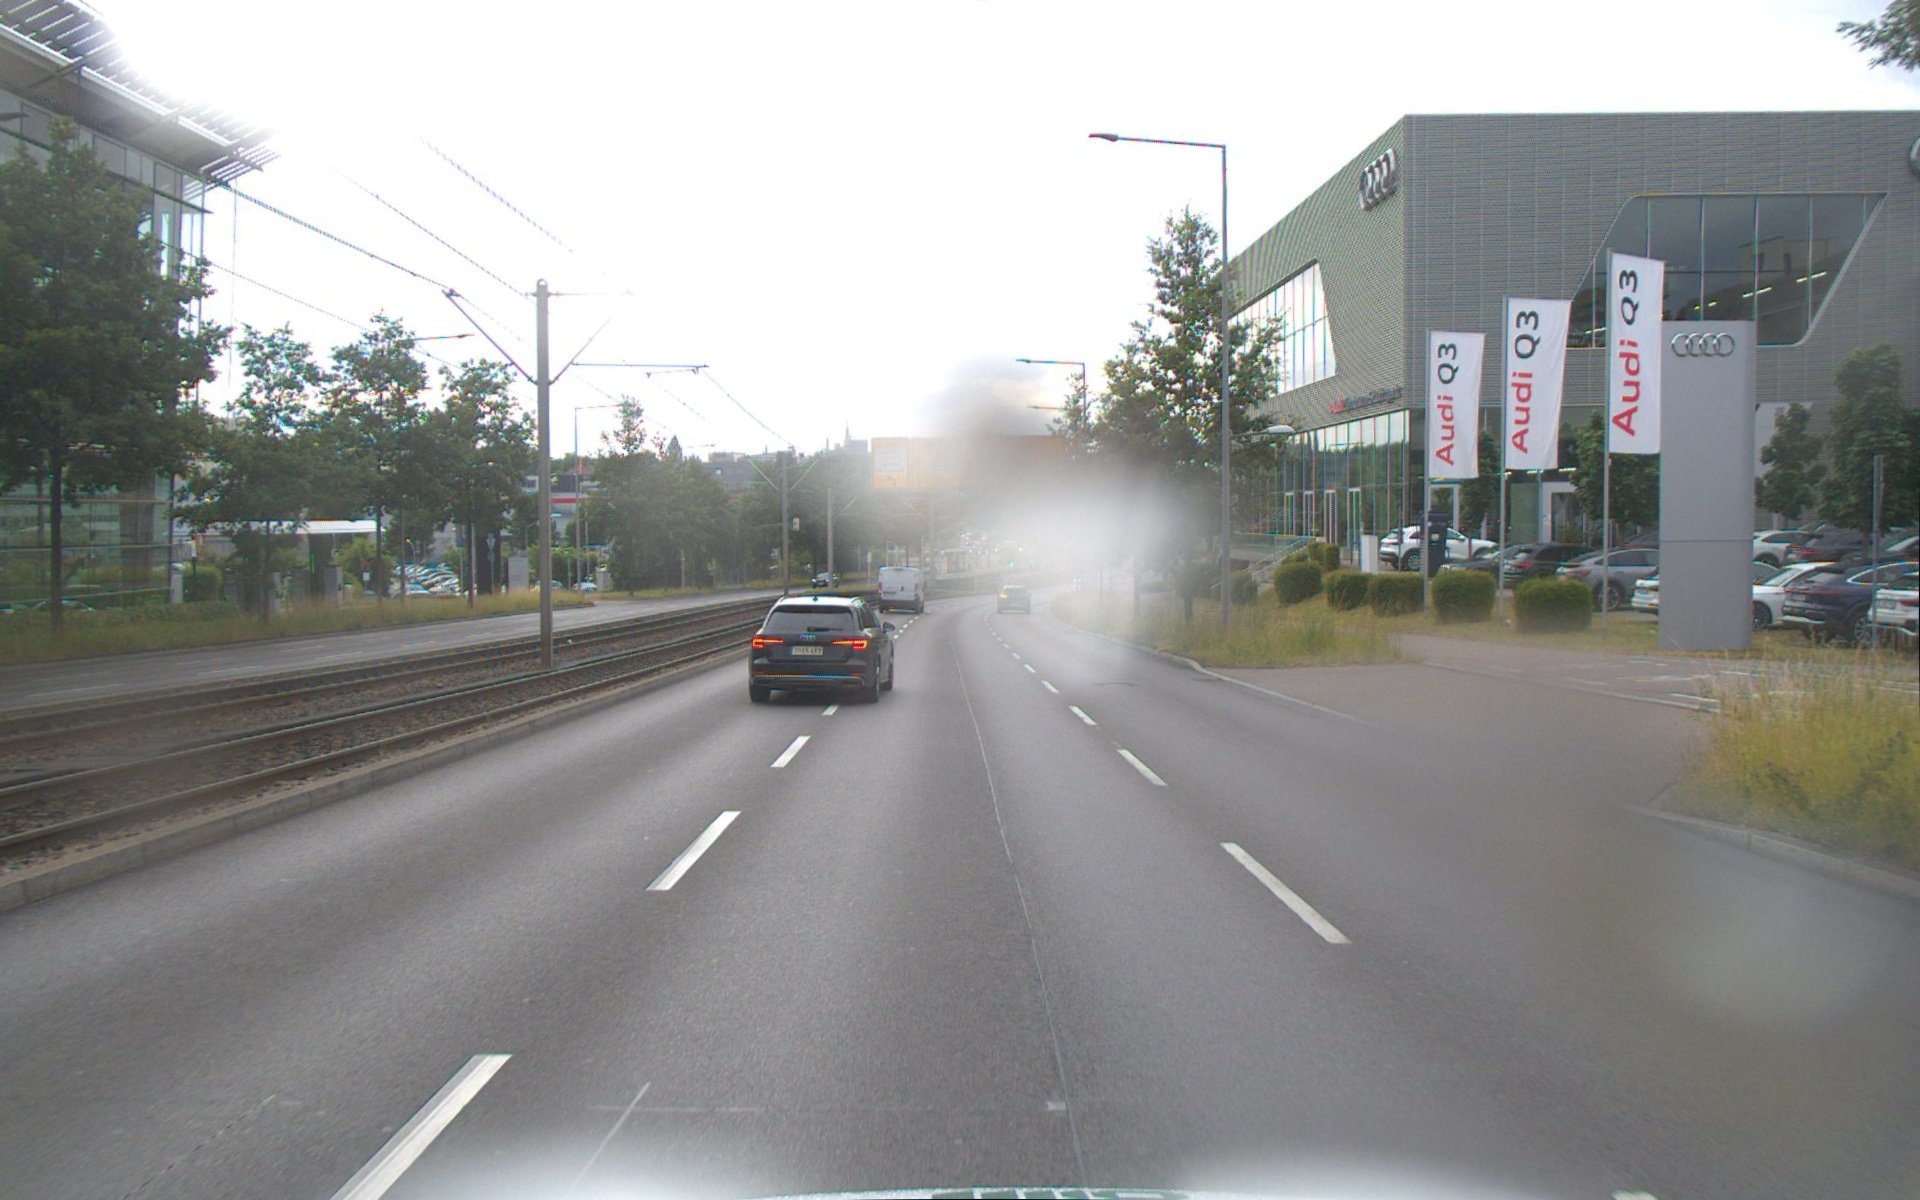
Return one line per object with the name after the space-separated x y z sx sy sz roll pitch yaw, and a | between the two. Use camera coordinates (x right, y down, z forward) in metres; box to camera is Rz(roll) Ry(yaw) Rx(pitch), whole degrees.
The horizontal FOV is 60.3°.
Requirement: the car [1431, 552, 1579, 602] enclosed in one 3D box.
17.906 -0.767 54.442 4.331 1.601 1.692 0 1 -2 | car

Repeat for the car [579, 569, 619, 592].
-27.925 -1.500 128.134 1.951 1.679 4.002 1 0 4 | car

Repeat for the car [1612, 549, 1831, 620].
17.988 -0.366 39.165 4.428 1.622 1.692 0 0 -2 | car

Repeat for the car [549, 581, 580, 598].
-36.909 -0.946 154.249 1.969 1.536 3.967 1 0 -26 | car

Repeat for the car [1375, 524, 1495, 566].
18.522 -2.135 64.617 4.173 1.601 1.692 0 1 -2 | car

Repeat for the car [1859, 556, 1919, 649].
18.578 0.063 29.627 4.029 1.622 1.944 0 -1 -9 | car

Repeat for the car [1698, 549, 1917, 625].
18.723 -0.278 36.631 4.022 1.622 1.692 0 0 -2 | car

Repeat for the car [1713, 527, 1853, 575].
28.526 -1.695 57.405 4.022 1.601 1.692 0 1 -2 | car

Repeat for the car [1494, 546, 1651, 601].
18.174 -0.789 49.152 4.022 1.601 1.692 0 1 -2 | car

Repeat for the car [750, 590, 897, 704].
-1.872 0.602 23.939 1.728 1.489 4.627 0 0 0 | car

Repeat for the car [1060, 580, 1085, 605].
9.169 -0.596 135.183 1.979 1.800 4.003 1 3 3 | car

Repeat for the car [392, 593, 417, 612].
-45.720 0.178 136.111 1.727 1.520 3.974 1 0 -22 | car

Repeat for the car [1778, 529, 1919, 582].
28.087 -1.377 51.838 4.022 1.601 1.825 0 1 -2 | car

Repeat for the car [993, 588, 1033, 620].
2.804 0.217 87.906 1.980 1.651 4.000 1 0 0 | car

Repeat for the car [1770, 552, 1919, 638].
18.249 -0.085 32.235 4.022 1.622 1.870 0 0 -2 | car

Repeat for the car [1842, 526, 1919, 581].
28.719 -1.390 49.260 4.022 1.601 1.692 -1 1 -2 | car

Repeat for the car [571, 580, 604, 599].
-32.261 -0.896 143.107 1.969 1.536 3.967 1 0 -26 | car

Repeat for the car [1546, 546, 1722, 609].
18.029 -0.617 44.341 4.022 1.636 1.692 0 1 -2 | car

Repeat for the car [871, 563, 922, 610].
-3.262 -0.649 83.796 2.461 2.215 5.146 1 0 -3 | car

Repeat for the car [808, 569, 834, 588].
-12.738 -1.995 152.069 1.844 1.547 4.405 -3 1 2 | car

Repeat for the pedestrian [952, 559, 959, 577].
-0.455 -3.495 180.092 0.623 1.886 0.751 1 -1 11 | pedestrian
